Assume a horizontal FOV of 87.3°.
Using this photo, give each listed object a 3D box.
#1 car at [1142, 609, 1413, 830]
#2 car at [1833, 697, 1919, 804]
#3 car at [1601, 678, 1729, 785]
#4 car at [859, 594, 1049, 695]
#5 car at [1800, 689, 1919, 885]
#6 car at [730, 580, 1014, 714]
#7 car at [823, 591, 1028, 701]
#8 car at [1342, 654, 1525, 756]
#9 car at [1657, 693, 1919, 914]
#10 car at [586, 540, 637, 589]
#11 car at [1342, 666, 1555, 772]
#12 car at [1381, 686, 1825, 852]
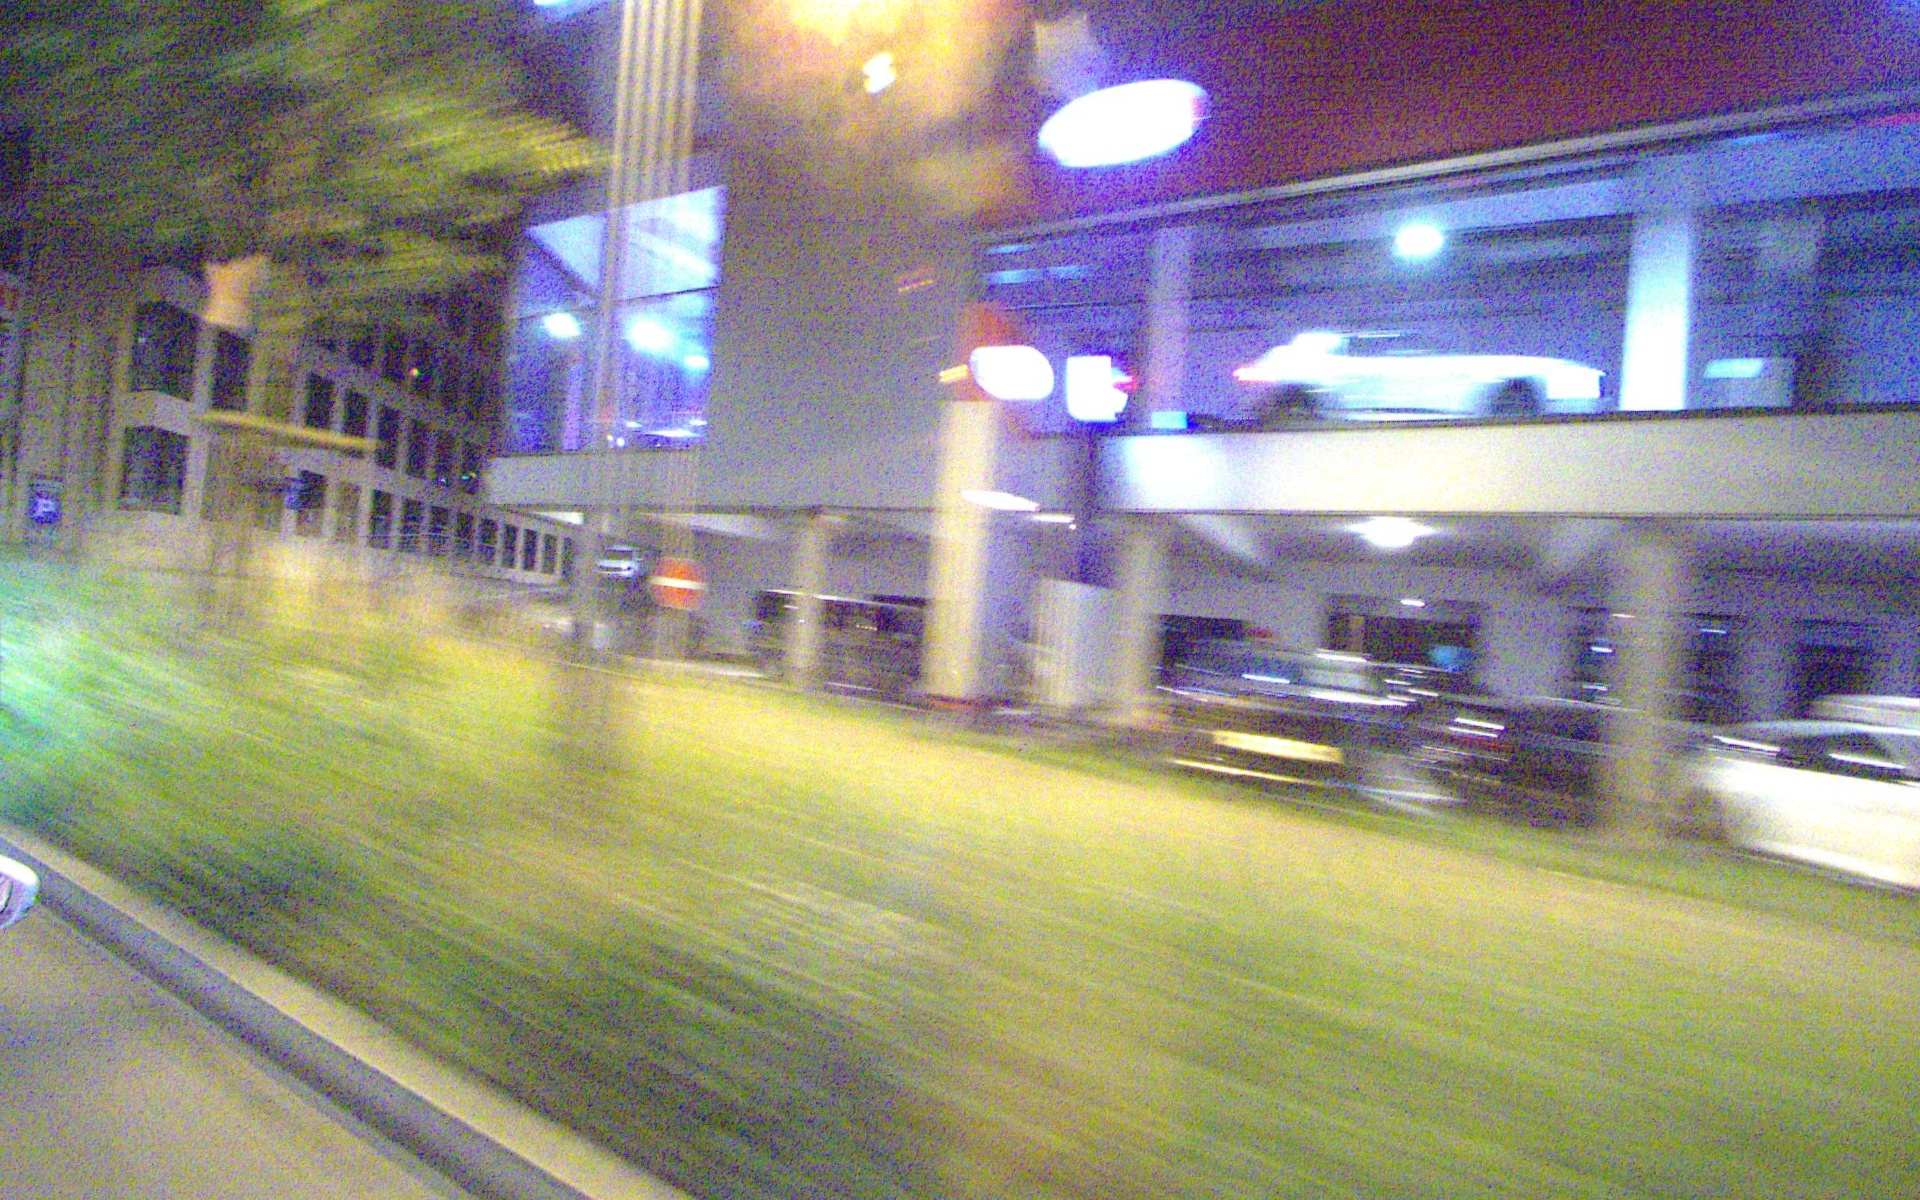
[{"bbox_3d":[3.052,1.036,9.678,1.842,1.436,4.139,7,-2,19],"label":"car"},{"bbox_3d":[16.829,2.635,16.077,1.628,1.674,4.320,7,-1,-4],"label":"car"},{"bbox_3d":[13.157,2.378,18.938,1.721,1.605,3.480,4,-1,33],"label":"car"},{"bbox_3d":[-0.166,1.149,26.156,4.331,2.017,1.957,6,-1,26],"label":"car"},{"bbox_3d":[11.211,2.013,10.466,3.802,1.818,1.587,4,0,-8],"label":"car"},{"bbox_3d":[-1.893,0.935,21.045,5.529,2.038,1.999,6,-1,27],"label":"car"},{"bbox_3d":[-0.830,1.071,23.766,4.331,2.017,1.816,6,-1,26],"label":"car"},{"bbox_3d":[9.908,2.136,21.160,3.243,1.663,1.635,4,1,27],"label":"car"},{"bbox_3d":[7.451,1.589,7.289,1.910,1.279,4.647,8,-1,8],"label":"car"},{"bbox_3d":[-15.191,-1.590,44.002,1.604,1.685,3.981,1,8,-12],"label":"car"},{"bbox_3d":[9.046,2.136,18.797,3.357,1.532,1.636,4,-1,27],"label":"car"},{"bbox_3d":[7.732,2.011,12.376,4.259,1.426,1.778,5,-1,-2],"label":"car"}]
